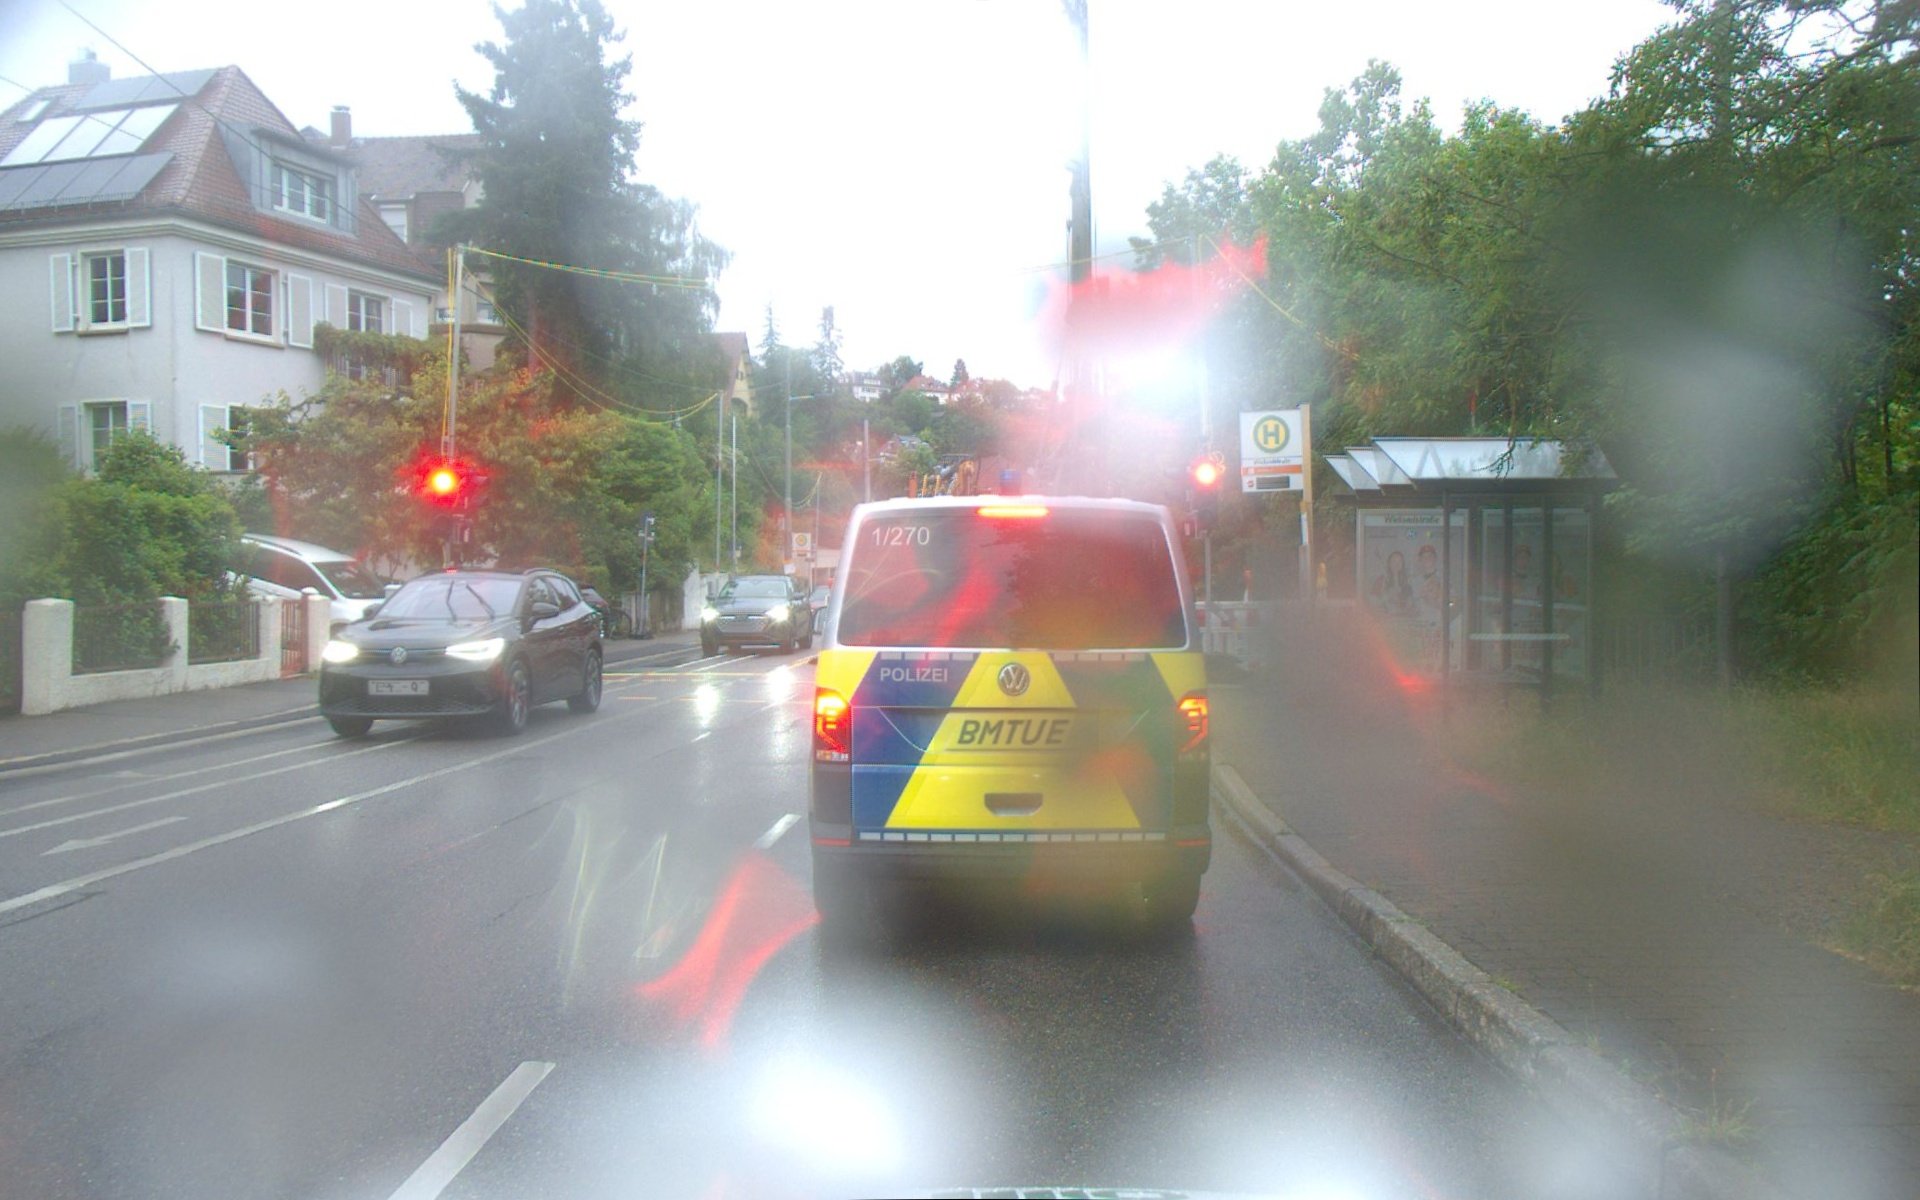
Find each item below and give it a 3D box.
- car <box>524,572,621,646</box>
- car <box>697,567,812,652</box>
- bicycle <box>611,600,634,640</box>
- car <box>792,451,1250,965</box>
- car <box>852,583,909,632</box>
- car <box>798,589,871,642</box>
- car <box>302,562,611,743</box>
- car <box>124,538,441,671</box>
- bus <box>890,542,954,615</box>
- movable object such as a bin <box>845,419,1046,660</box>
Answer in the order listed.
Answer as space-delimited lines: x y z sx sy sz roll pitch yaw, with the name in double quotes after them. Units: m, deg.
-8.908 0.174 37.822 1.739 1.512 3.721 1 2 -20 "car"
-4.369 0.186 35.867 1.953 1.703 4.687 1 0 -1 "car"
-8.051 0.464 39.447 0.455 0.913 1.628 0 0 -15 "bicycle"
0.227 0.434 8.813 1.855 2.086 3.999 1 0 -1 "car"
-3.024 0.263 62.148 1.940 1.778 4.549 1 0 -5 "car"
-3.770 0.430 50.169 1.727 1.488 3.887 1 1 2 "car"
-5.075 0.435 17.318 1.828 1.649 4.166 0 2 2 "car"
-11.207 0.054 27.483 4.532 2.042 1.902 1 0 11 "car"
-2.020 -1.177 92.613 2.782 3.783 12.009 1 0 2 "bus"
-0.164 -1.096 31.631 2.770 4.250 4.384 1 0 14 "movable object such as a bin"
